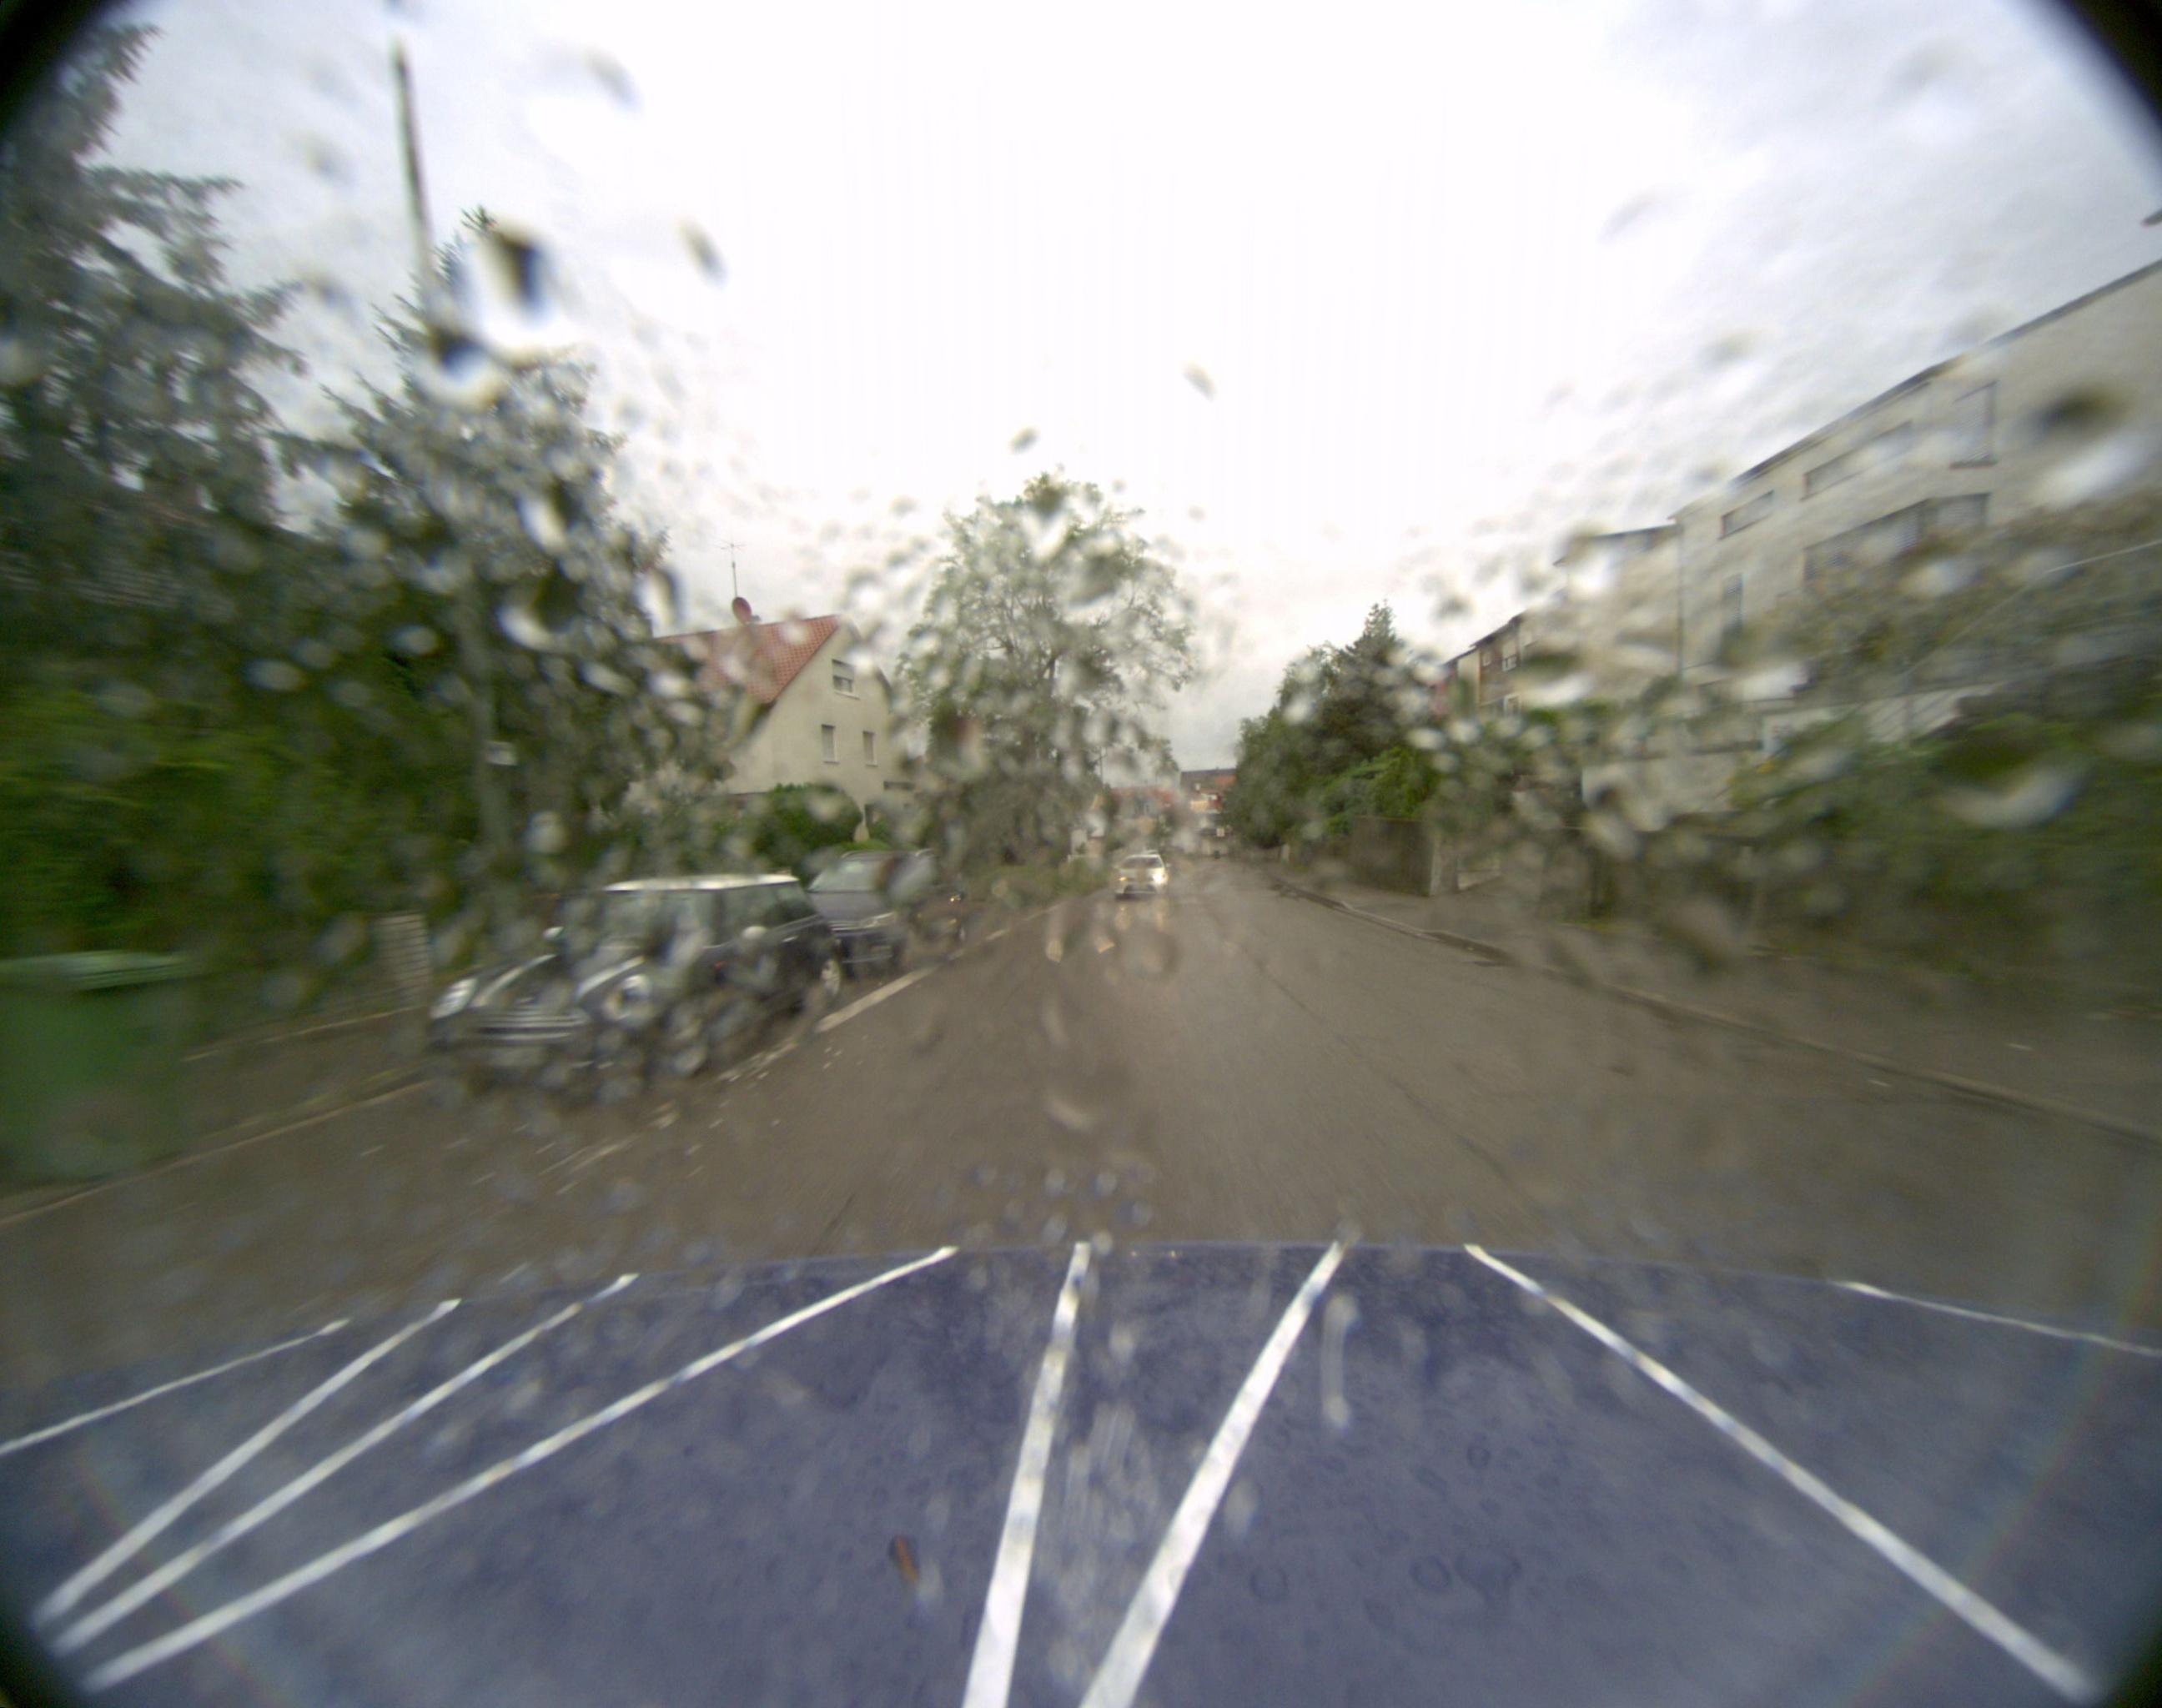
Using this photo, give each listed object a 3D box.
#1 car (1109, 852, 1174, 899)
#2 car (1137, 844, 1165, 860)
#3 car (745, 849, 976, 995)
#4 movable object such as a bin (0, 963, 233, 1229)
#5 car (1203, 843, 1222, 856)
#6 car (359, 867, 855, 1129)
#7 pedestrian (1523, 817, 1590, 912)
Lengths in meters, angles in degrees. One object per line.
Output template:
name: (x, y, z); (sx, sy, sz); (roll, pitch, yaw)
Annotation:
car: (2.171, 0.675, 26.218); (1.862, 1.369, 4.183); (-3, 0, 9)
car: (9.450, -0.252, 102.748); (2.116, 1.863, 4.174); (-3, 0, -20)
car: (-2.991, 0.823, 11.459); (1.833, 1.691, 4.461); (-2, 1, 4)
movable object such as a bin: (-4.990, 1.151, 3.776); (0.704, 1.091, 0.701); (-3, 1, 3)
car: (16.123, -0.578, 93.446); (1.759, 1.491, 3.993); (-3, 0, 2)
car: (-3.453, 0.924, 6.476); (1.637, 1.448, 3.701); (-2, 1, 5)
pedestrian: (8.607, 0.189, 13.781); (0.657, 1.639, 0.732); (-3, 0, 0)
